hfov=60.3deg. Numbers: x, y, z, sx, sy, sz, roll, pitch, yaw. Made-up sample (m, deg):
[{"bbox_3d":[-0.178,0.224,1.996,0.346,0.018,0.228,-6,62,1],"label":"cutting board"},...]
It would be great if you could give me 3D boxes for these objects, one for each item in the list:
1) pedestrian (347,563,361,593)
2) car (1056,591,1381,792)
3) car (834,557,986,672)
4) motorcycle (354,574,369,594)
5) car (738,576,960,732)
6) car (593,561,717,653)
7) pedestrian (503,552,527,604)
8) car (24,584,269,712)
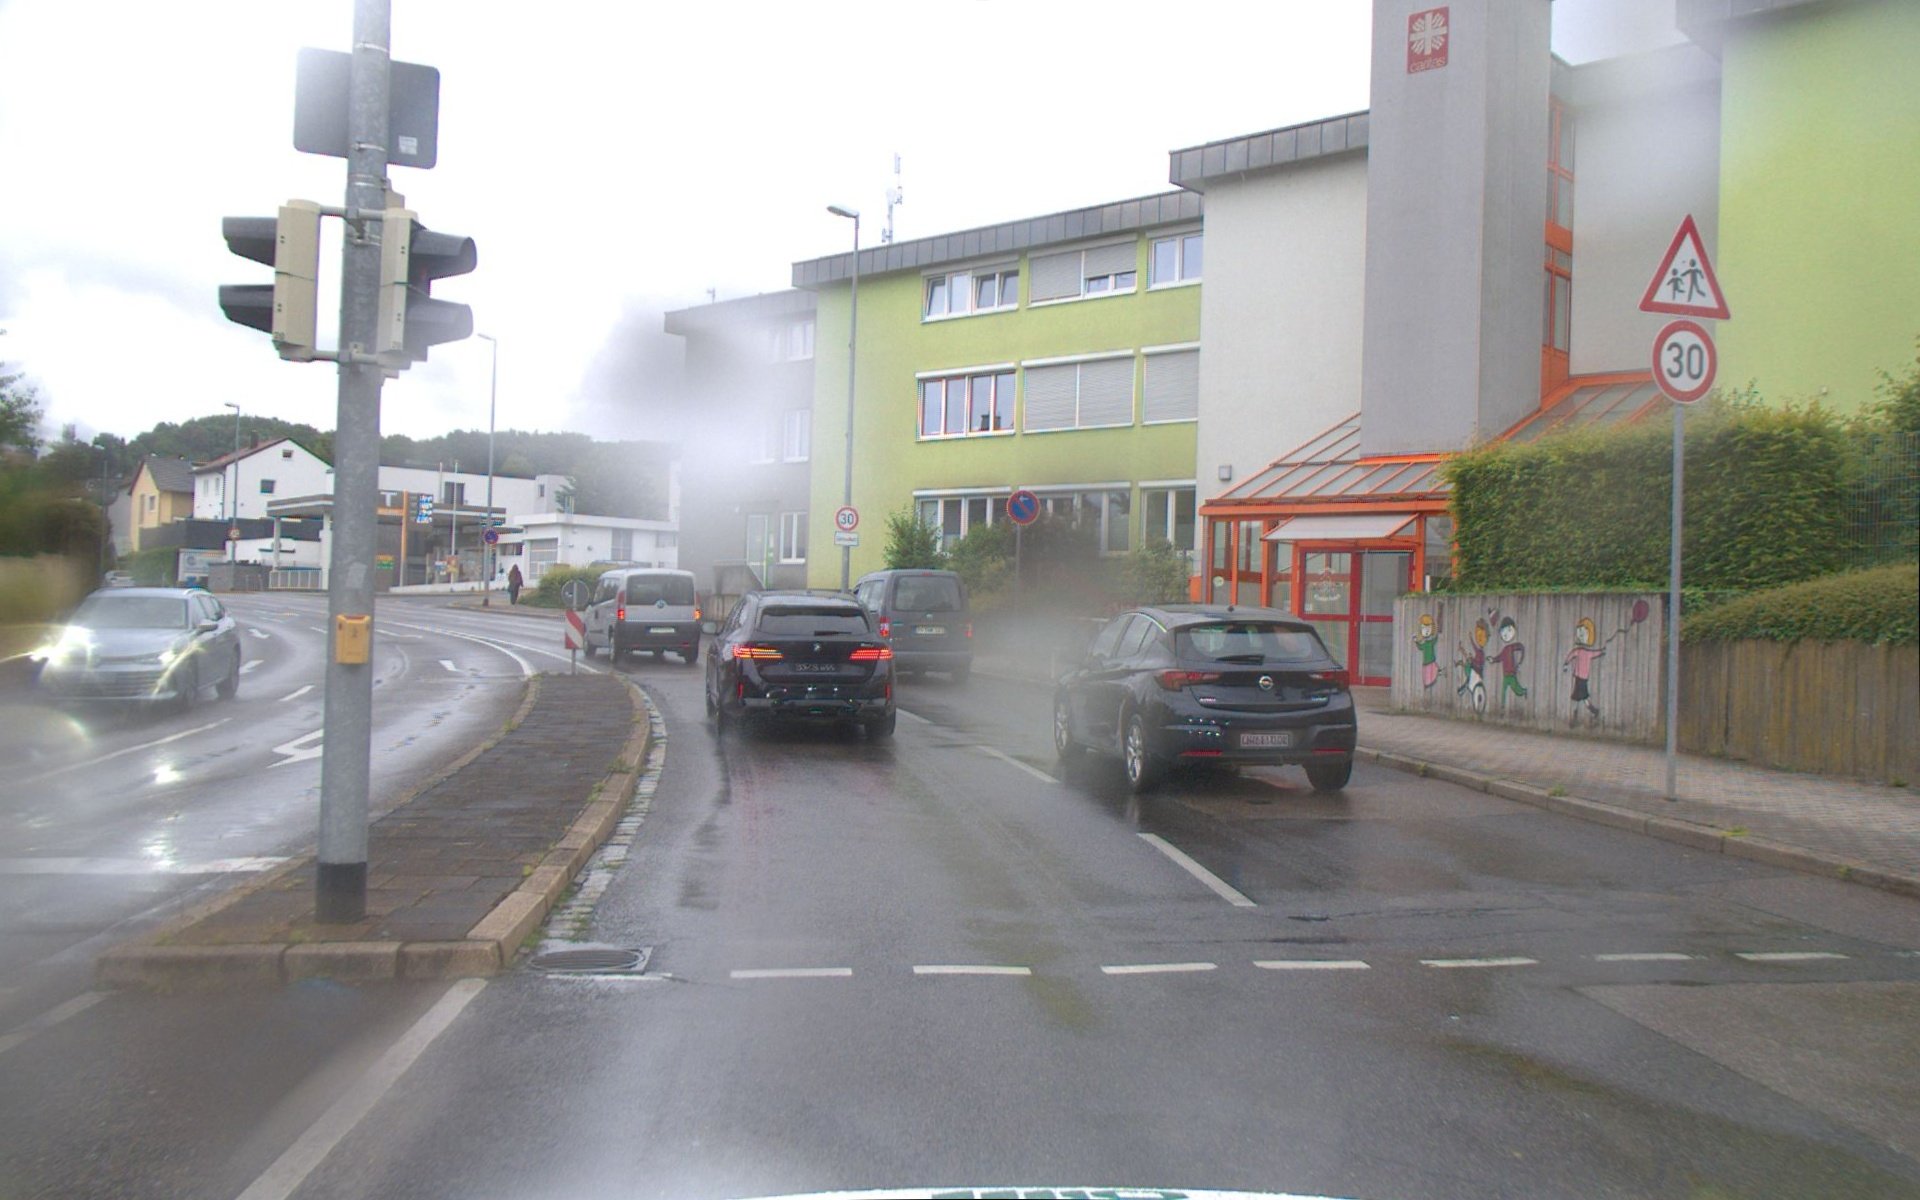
[{"bbox_3d":[-34.119,-1.229,93.082,0.604,1.685,0.578,2,-2,-34],"label":"pedestrian"},{"bbox_3d":[2.054,0.681,14.303,1.723,1.475,3.994,1,0,-7],"label":"car"},{"bbox_3d":[-0.935,0.269,28.407,1.807,1.798,3.985,1,-1,-14],"label":"car"},{"bbox_3d":[-33.721,-0.898,93.165,0.458,1.074,1.374,2,-1,-34],"label":"motorcycle"},{"bbox_3d":[-1.343,0.574,18.247,1.958,1.510,3.989,1,-1,-11],"label":"car"},{"bbox_3d":[-6.387,0.173,34.311,1.963,1.768,3.978,1,-1,-19],"label":"car"},{"bbox_3d":[-17.705,-0.857,65.801,0.600,2.049,0.718,0,-1,20],"label":"pedestrian"},{"bbox_3d":[-10.454,0.606,21.636,1.646,1.475,4.676,1,-1,-11],"label":"car"}]
